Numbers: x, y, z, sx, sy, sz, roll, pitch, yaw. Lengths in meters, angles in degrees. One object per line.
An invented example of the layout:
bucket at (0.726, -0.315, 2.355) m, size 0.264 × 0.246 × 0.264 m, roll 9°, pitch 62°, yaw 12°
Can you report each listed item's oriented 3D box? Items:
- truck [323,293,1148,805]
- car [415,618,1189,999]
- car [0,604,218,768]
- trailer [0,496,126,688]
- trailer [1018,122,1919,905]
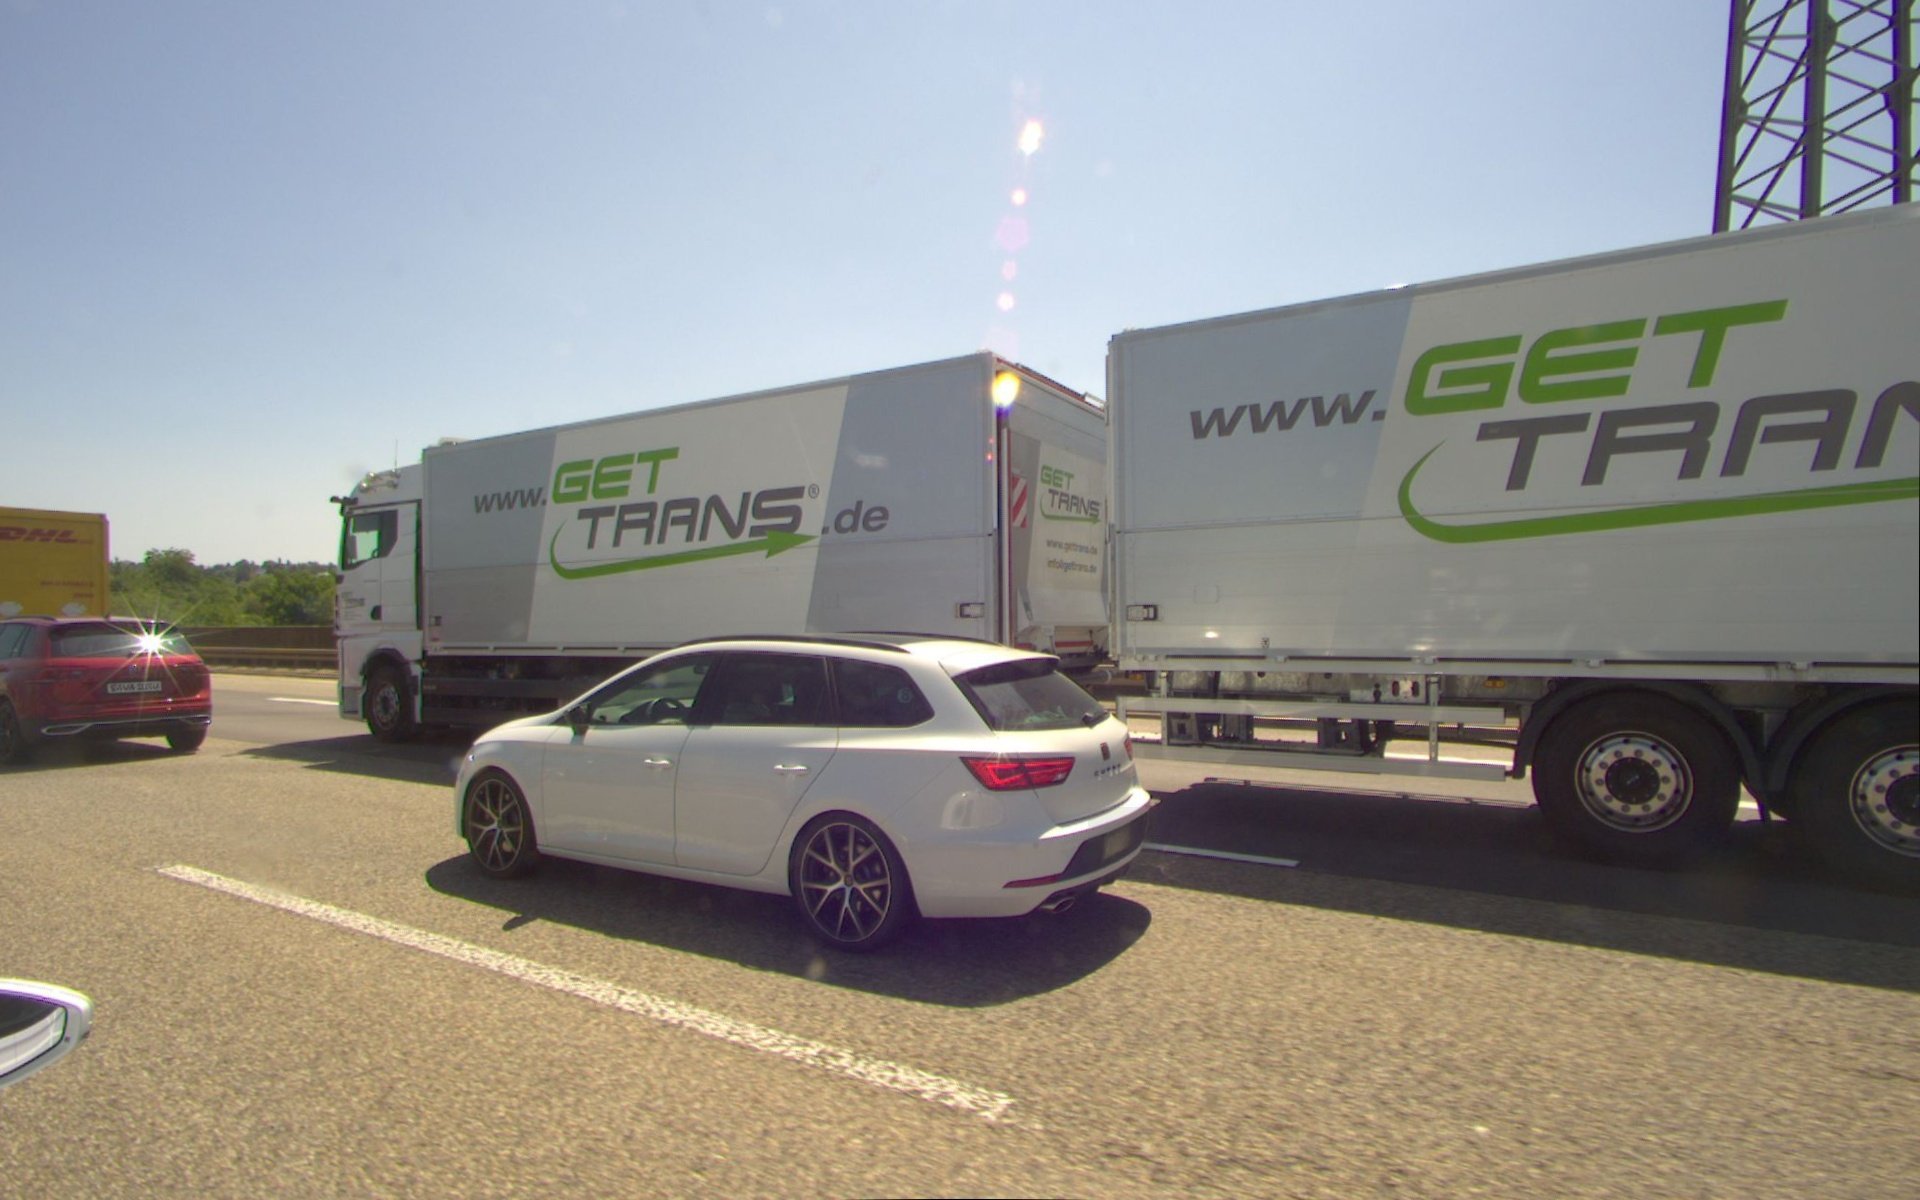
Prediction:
truck at (-3.263, -0.255, 11.760) m, size 10.456 × 3.984 × 2.848 m, roll -1°, pitch -2°, yaw 32°
car at (-1.067, 0.856, 5.781) m, size 4.364 × 1.470 × 1.706 m, roll 0°, pitch -1°, yaw 31°
car at (-11.019, 0.941, 12.272) m, size 4.223 × 1.701 × 1.705 m, roll -1°, pitch -1°, yaw 32°
trailer at (-24.042, -0.063, 24.578) m, size 8.848 × 4.140 × 2.679 m, roll -1°, pitch -2°, yaw 31°
trailer at (4.639, -0.377, 6.853) m, size 8.096 × 3.941 × 2.894 m, roll -1°, pitch -2°, yaw 32°
